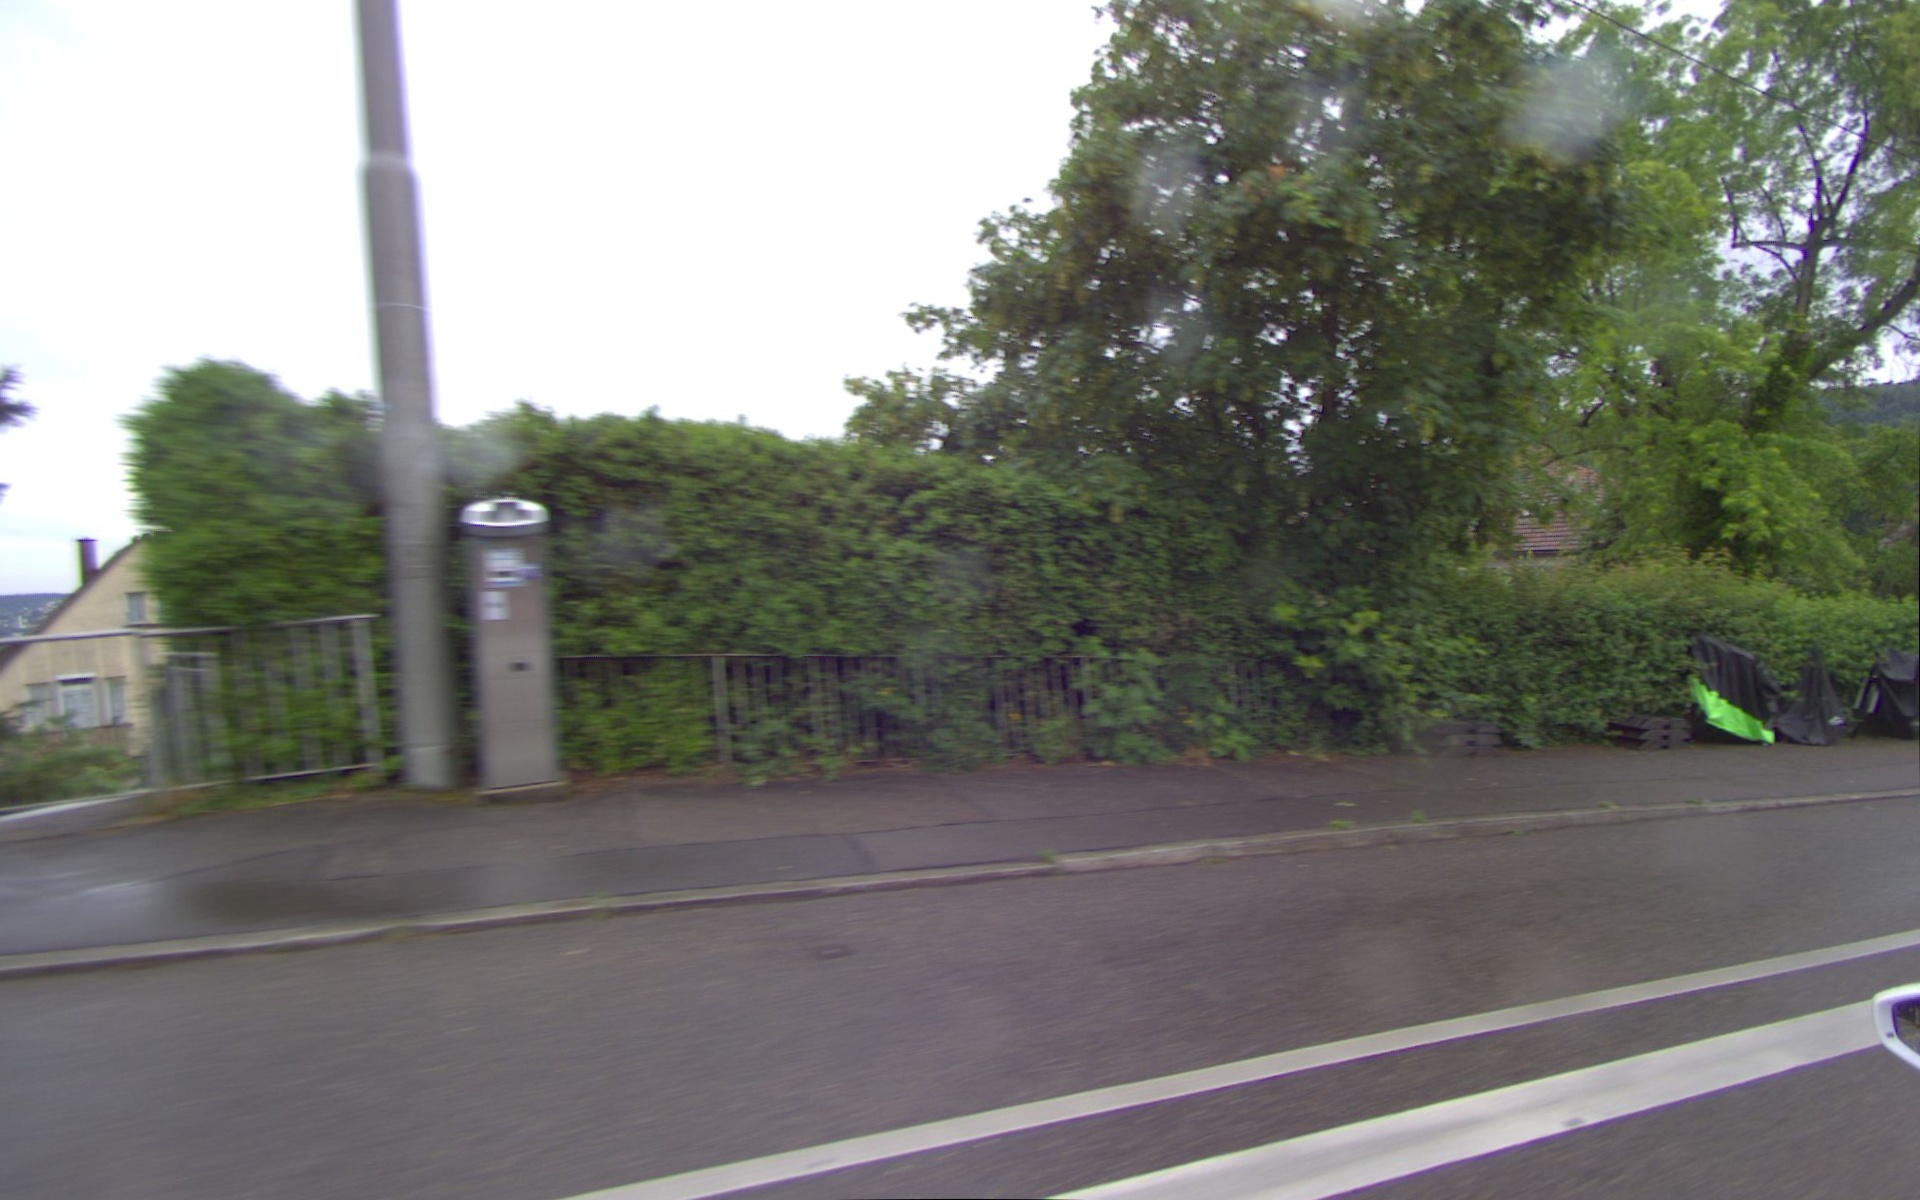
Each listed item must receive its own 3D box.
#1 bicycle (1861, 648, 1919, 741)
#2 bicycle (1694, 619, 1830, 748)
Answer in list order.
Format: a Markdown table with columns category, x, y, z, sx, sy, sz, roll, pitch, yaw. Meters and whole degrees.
| category | x | y | z | sx | sy | sz | roll | pitch | yaw |
| --- | --- | --- | --- | --- | --- | --- | --- | --- | --- |
| bicycle | 11.905 | 1.180 | 12.642 | 1.238 | 1.122 | 0.337 | 2 | 0 | -24 |
| bicycle | 8.979 | 0.926 | 11.235 | 1.718 | 1.367 | 0.419 | 2 | 0 | -24 |
